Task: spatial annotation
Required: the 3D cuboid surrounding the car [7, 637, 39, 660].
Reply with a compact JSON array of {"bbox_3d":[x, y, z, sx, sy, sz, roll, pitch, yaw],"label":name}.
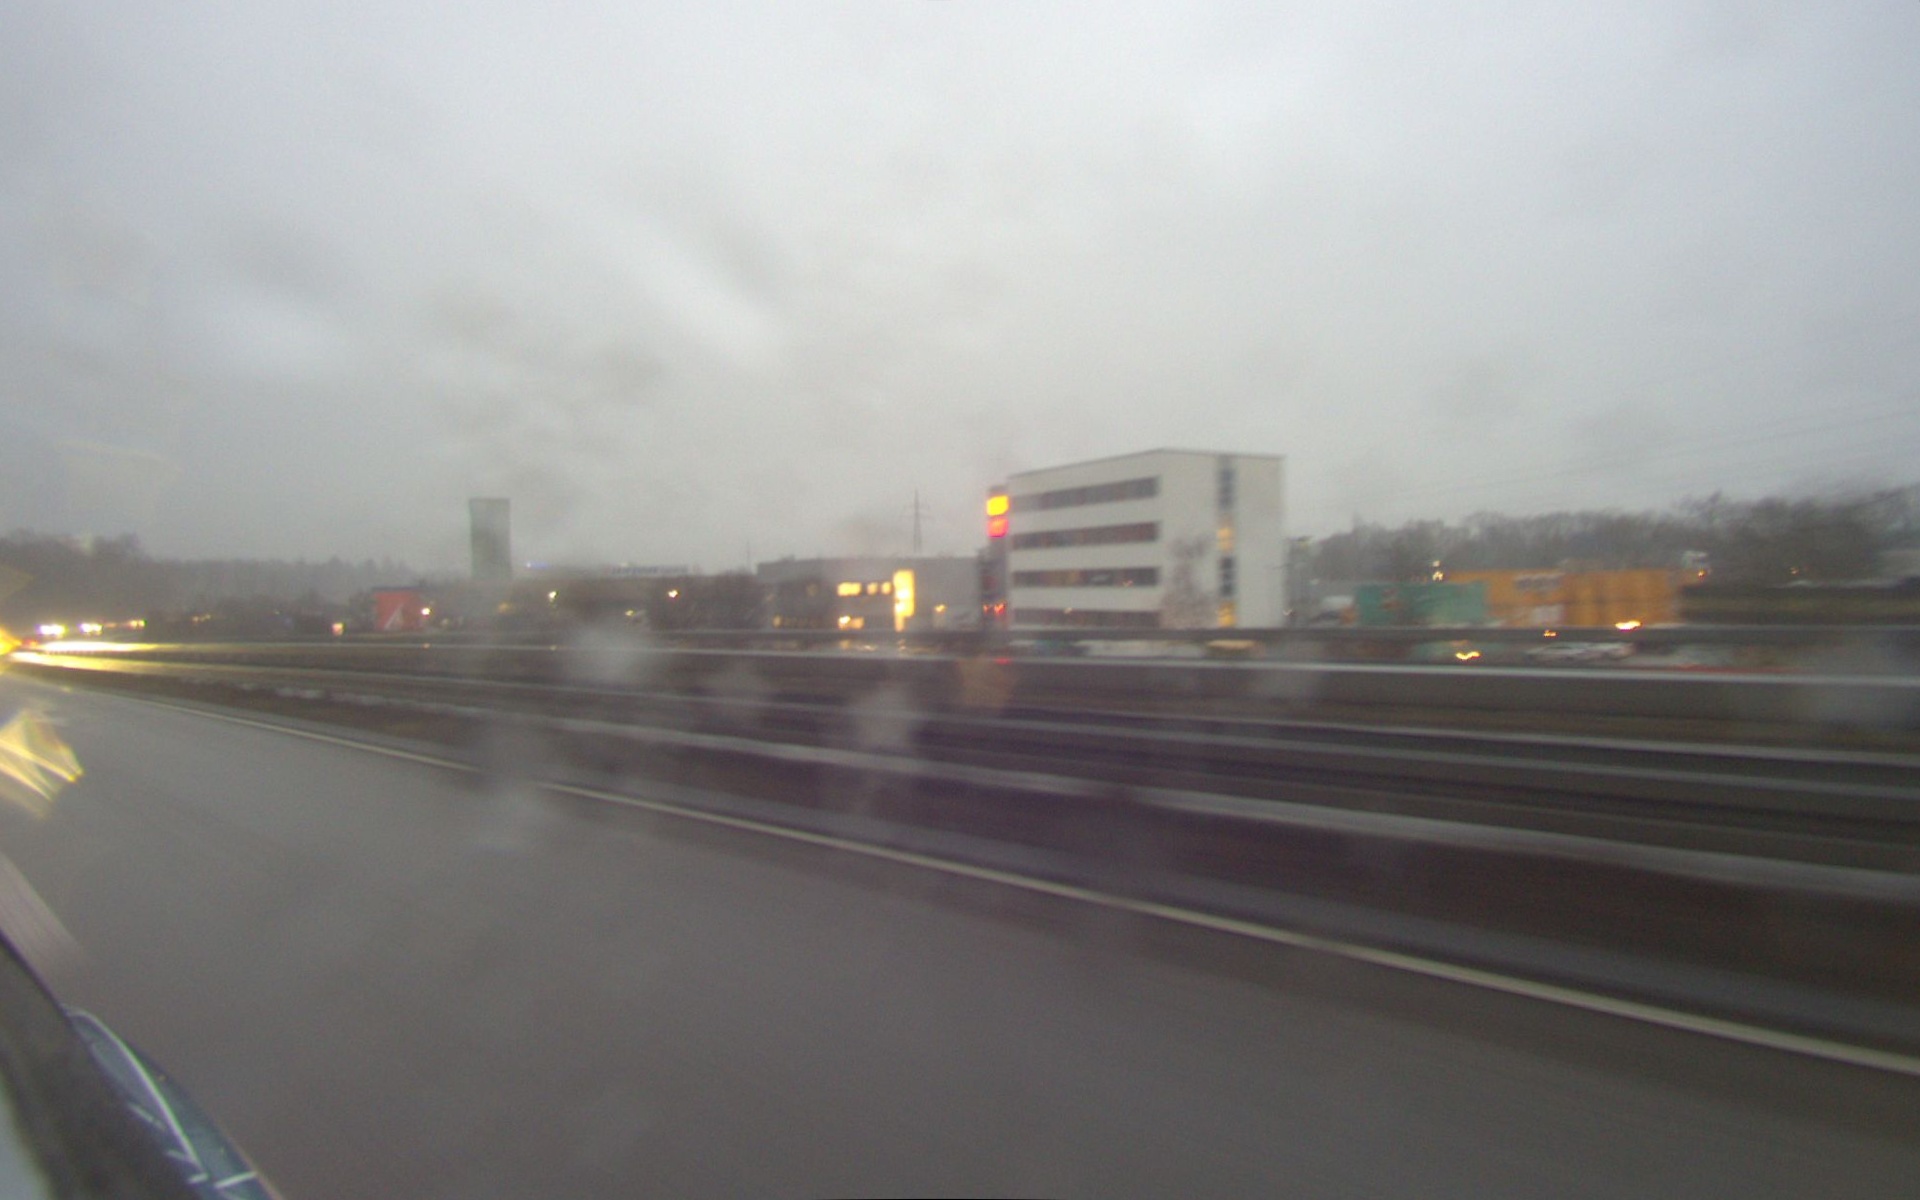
[{"bbox_3d":[-79.546,4.074,85.897,1.970,1.863,3.675,-1,-1,-44],"label":"car"}]
